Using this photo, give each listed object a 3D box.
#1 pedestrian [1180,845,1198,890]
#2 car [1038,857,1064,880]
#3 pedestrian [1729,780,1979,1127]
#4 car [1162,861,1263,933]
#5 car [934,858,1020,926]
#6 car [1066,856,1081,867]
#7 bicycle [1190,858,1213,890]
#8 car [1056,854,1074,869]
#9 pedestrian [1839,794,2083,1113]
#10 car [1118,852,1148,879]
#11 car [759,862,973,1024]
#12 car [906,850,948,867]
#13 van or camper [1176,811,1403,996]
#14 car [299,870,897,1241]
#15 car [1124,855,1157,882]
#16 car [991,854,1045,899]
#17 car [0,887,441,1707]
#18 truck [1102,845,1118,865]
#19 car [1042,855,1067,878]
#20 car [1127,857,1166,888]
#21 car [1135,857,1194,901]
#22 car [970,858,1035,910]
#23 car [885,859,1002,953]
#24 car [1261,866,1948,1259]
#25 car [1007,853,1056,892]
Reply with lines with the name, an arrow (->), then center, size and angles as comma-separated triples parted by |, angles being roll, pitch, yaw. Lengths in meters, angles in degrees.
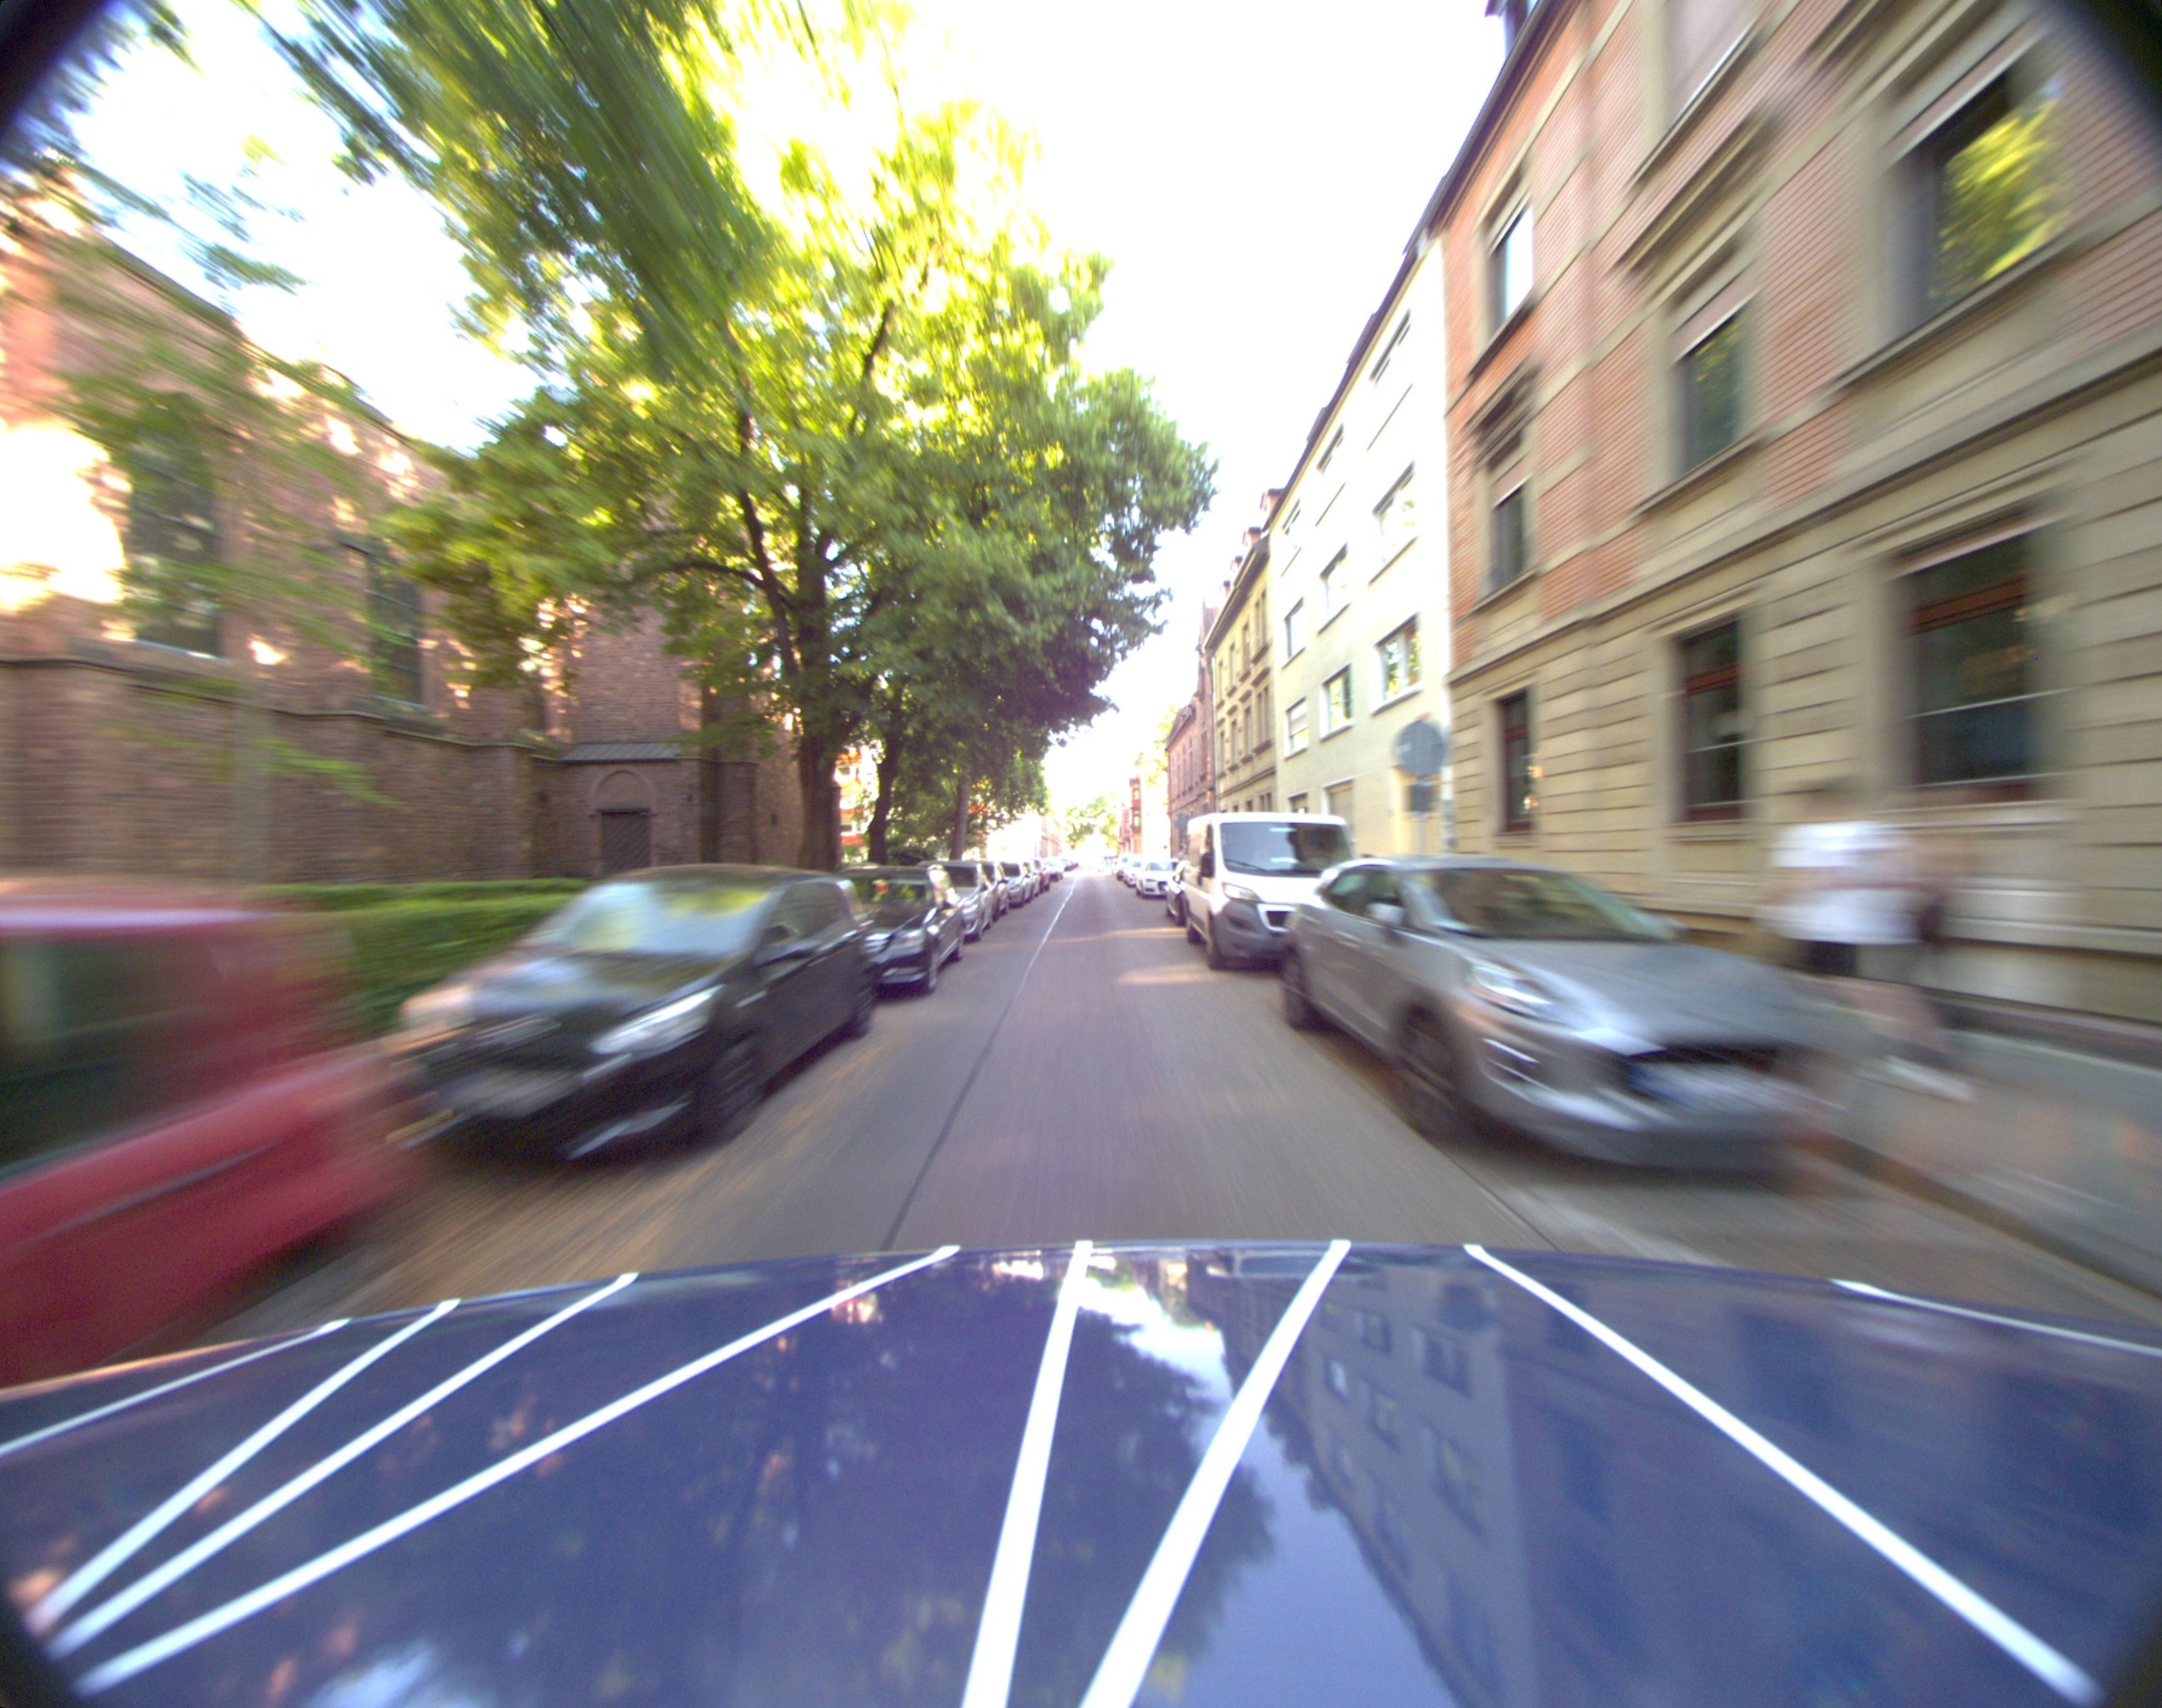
pedestrian -> 4.428, 0.558, 31.270 | 0.489, 1.792, 1.115 | -3, 1, -1
car -> -1.932, 0.922, 49.964 | 1.625, 1.428, 4.002 | 0, 1, -1
pedestrian -> 4.567, 0.537, 4.567 | 0.580, 1.872, 0.904 | -2, 2, 1
car -> 2.922, 0.900, 17.692 | 1.735, 1.394, 4.316 | 1, 0, 2
car -> -2.635, 0.919, 19.995 | 1.603, 1.459, 3.563 | 4, 1, 1
car -> -1.122, 1.114, 116.284 | 1.998, 1.659, 4.001 | -1, 0, 2
bicycle -> 4.978, 0.806, 31.384 | 0.572, 1.236, 1.844 | -4, 0, 0
car -> -1.715, 0.824, 84.453 | 1.845, 1.643, 4.000 | 0, 0, 1
pedestrian -> 5.211, 0.552, 4.550 | 0.703, 1.762, 0.649 | -2, 2, 1
car -> 3.325, 0.706, 49.327 | 1.713, 1.664, 4.278 | 1, 1, 2
car -> -2.531, 0.945, 10.126 | 1.680, 1.433, 4.693 | 4, 1, -3
car -> -14.910, 0.418, 73.529 | 3.695, 1.550, 1.649 | -1, 3, 0
van or camper -> 2.771, 0.579, 11.527 | 2.182, 2.135, 5.155 | 1, 0, 2
car -> -2.696, 0.961, 5.373 | 1.622, 1.478, 3.776 | 4, 1, 3
car -> 3.345, 0.799, 43.208 | 1.713, 1.409, 3.803 | 1, 1, 2
car -> -2.390, 0.832, 29.624 | 1.603, 1.496, 3.720 | 4, 1, 1
car -> -2.787, 0.969, 0.455 | 1.623, 1.615, 3.862 | 4, 1, -3
truck -> 3.903, 0.157, 103.628 | 1.971, 2.643, 5.885 | 0, 0, 1
car -> -1.926, 0.896, 55.590 | 1.713, 1.511, 3.831 | 0, 1, -1
car -> 3.272, 0.879, 38.483 | 1.713, 1.409, 3.803 | 1, 1, 2
car -> 3.019, 0.855, 28.269 | 1.735, 1.447, 4.521 | 1, 0, 1
car -> -2.475, 0.910, 24.788 | 1.603, 1.462, 3.869 | 1, 1, 1
car -> -2.624, 0.928, 15.262 | 1.603, 1.496, 3.627 | 4, 1, 0
car -> 2.624, 0.886, 5.185 | 1.771, 1.505, 4.193 | 1, 0, 0
car -> -2.207, 0.790, 34.748 | 1.668, 1.577, 4.100 | 4, 1, 3
